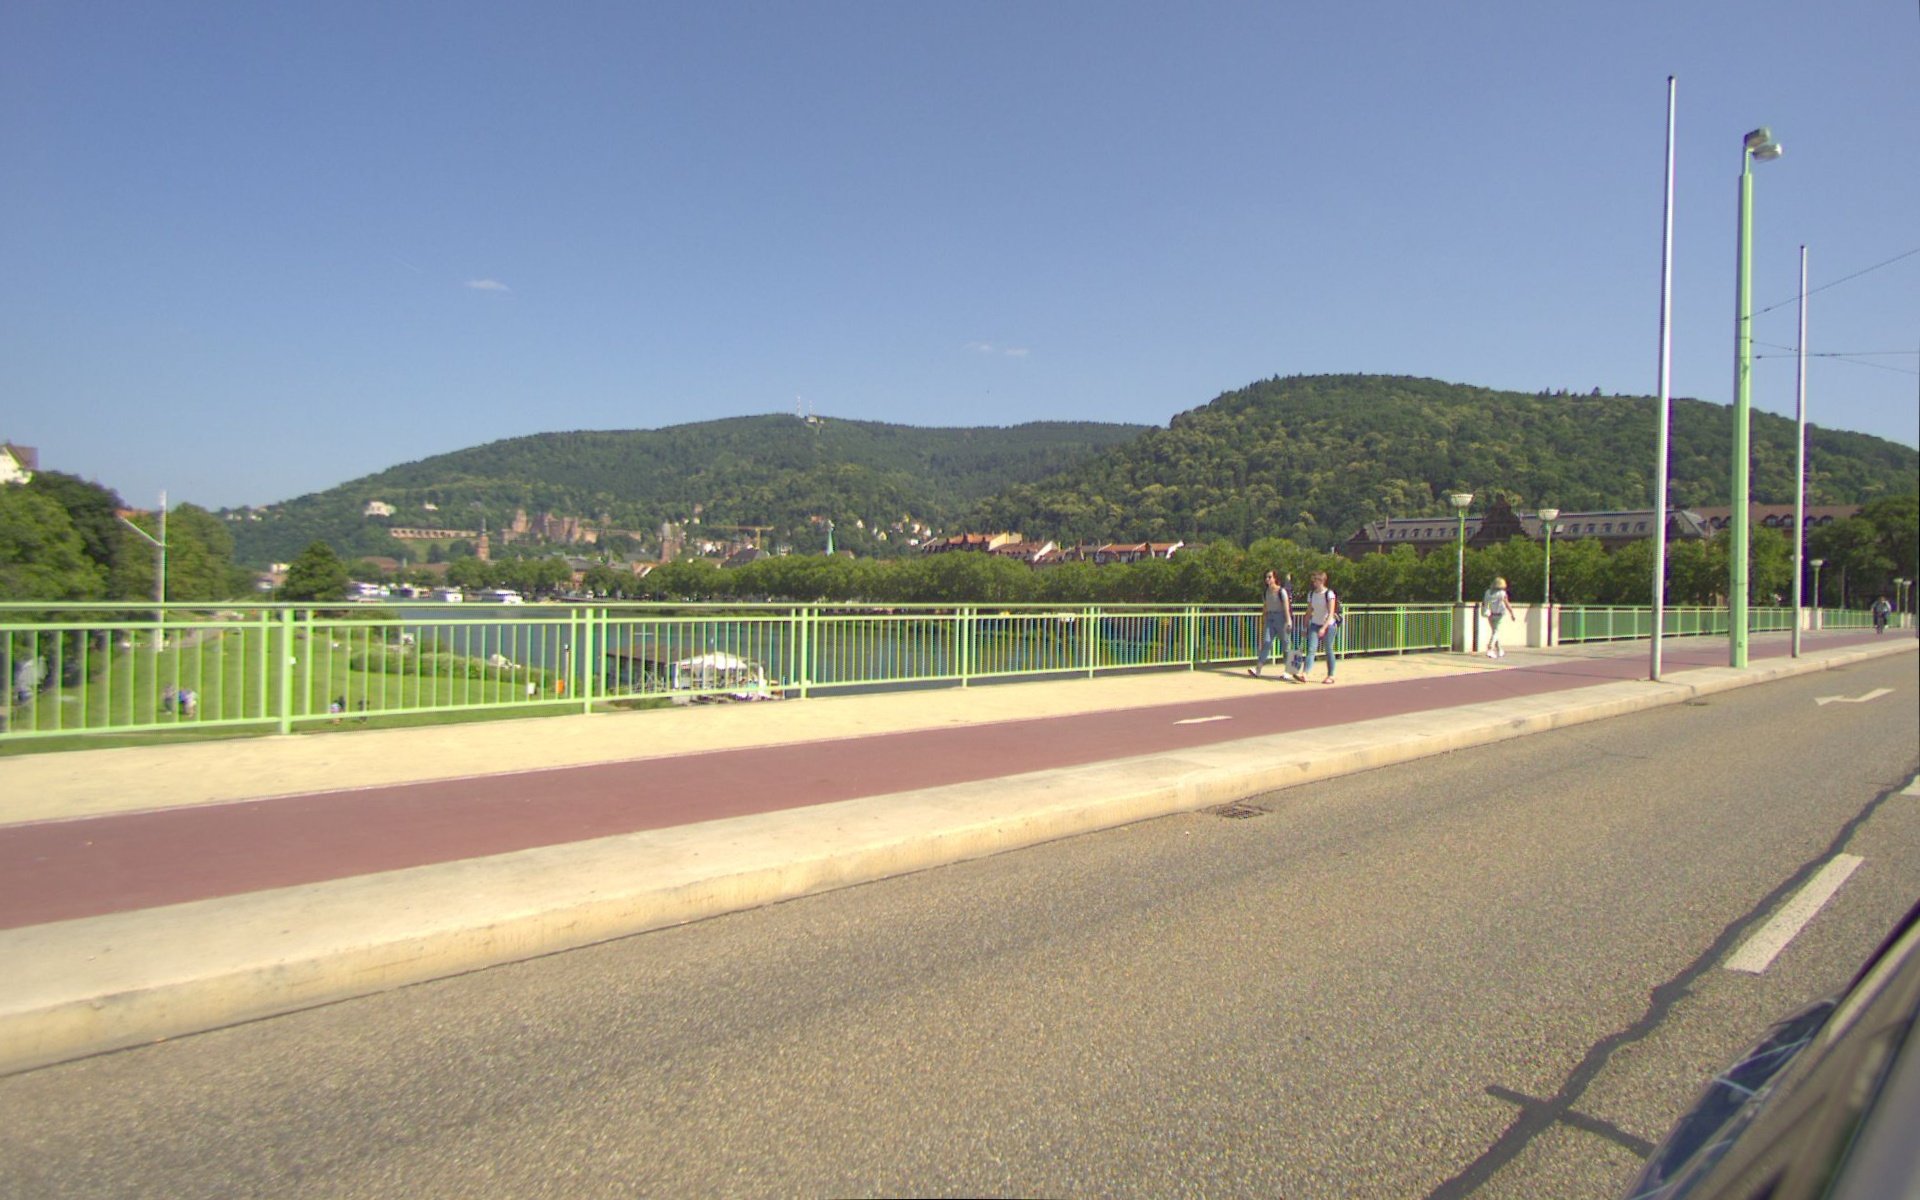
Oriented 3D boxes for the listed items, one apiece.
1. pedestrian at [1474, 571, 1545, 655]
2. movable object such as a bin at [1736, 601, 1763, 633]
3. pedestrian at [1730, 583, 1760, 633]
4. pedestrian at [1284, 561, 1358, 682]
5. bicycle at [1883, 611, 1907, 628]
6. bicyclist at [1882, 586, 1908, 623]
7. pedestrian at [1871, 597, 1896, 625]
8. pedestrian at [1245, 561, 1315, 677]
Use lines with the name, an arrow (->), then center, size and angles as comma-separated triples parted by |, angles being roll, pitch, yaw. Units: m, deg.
pedestrian -> 11.474, 0.256, 21.128 | 1.063, 1.683, 0.949 | 0, 2, -41
movable object such as a bin -> 28.620, 0.614, 36.676 | 0.917, 1.104, 0.583 | 0, 1, -42
pedestrian -> 28.011, 0.279, 36.106 | 0.844, 1.727, 0.664 | 0, 2, -41
pedestrian -> 5.244, 0.290, 14.699 | 0.811, 1.679, 0.664 | 0, 2, -41
bicycle -> 44.065, 0.919, 47.703 | 1.834, 0.775, 0.595 | 0, 2, -41
bicyclist -> 43.866, 0.205, 47.476 | 0.829, 1.685, 0.731 | 1, 3, -40
pedestrian -> 57.042, 0.691, 62.492 | 1.063, 1.683, 0.949 | 1, 2, -41
pedestrian -> 4.834, 0.266, 15.294 | 0.733, 1.679, 0.668 | 0, 2, -41
